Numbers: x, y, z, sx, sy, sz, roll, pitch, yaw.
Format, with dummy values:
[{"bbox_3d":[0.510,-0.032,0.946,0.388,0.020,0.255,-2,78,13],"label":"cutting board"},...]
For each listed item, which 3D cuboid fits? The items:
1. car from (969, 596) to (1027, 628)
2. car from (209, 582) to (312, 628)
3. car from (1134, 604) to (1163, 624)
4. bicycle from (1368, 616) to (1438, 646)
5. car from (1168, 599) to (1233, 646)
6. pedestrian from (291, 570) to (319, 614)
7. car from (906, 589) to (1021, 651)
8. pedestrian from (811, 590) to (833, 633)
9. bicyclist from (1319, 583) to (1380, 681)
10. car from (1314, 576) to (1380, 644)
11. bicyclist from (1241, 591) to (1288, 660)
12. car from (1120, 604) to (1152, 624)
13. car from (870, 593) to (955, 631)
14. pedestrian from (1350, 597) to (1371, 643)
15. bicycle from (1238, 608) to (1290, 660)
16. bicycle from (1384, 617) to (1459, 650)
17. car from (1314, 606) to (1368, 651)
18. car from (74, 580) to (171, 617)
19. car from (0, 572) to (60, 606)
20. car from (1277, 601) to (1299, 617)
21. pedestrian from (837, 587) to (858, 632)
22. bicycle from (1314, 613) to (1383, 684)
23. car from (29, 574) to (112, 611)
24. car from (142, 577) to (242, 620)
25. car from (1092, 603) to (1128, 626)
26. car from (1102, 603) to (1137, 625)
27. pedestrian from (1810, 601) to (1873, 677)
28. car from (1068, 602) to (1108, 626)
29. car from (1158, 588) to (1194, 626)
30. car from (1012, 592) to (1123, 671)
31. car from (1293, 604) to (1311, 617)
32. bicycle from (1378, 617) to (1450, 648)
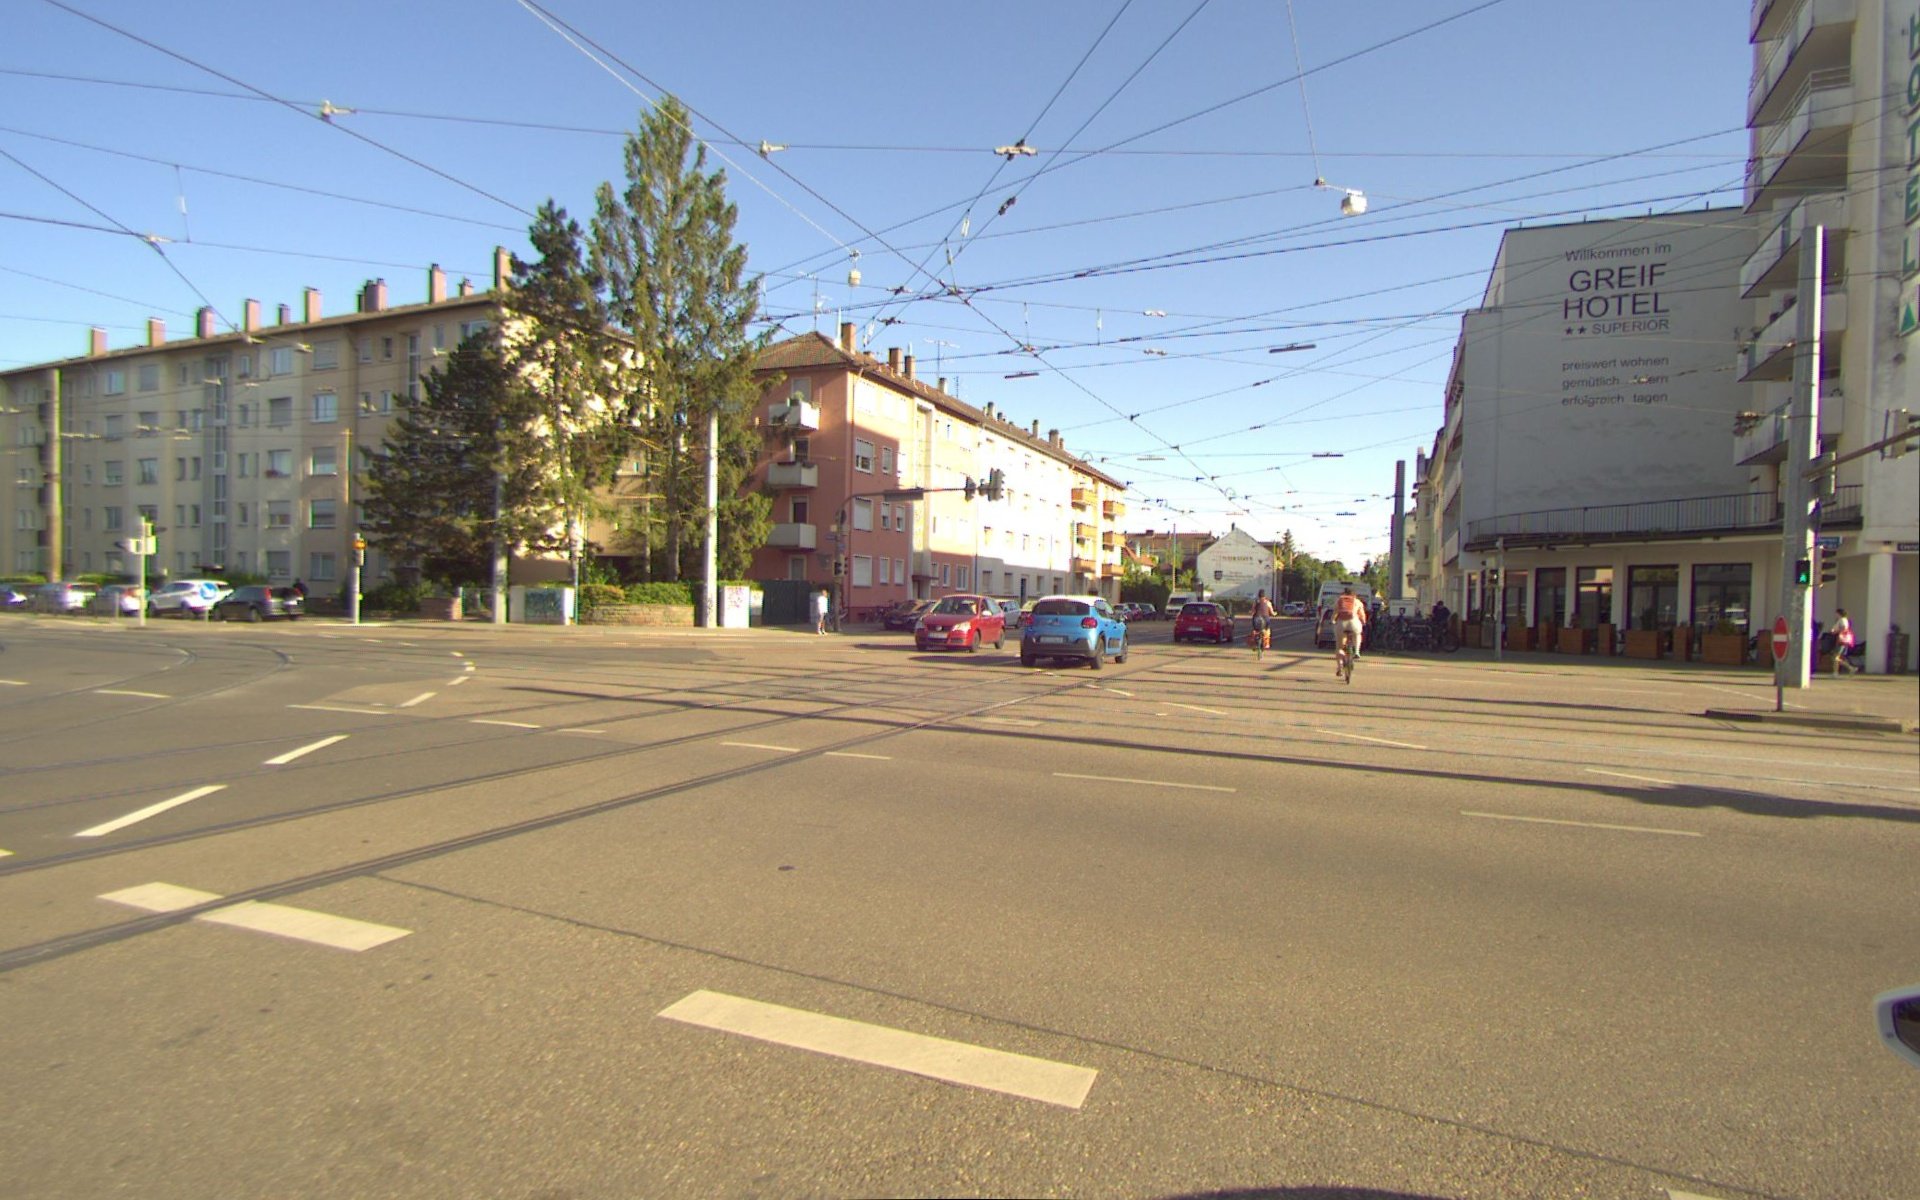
[{"bbox_3d":[2.141,0.666,55.126,1.714,1.546,4.228,4,1,23],"label":"car"},{"bbox_3d":[-29.356,0.196,42.141,3.998,1.650,1.869,4,1,28],"label":"car"},{"bbox_3d":[17.228,1.278,91.689,1.839,1.597,3.999,4,1,21],"label":"car"},{"bbox_3d":[15.659,1.101,35.578,2.215,1.015,0.856,0,0,22],"label":"bicycle"},{"bbox_3d":[9.013,0.780,37.384,1.756,1.542,3.761,4,2,22],"label":"car"},{"bbox_3d":[-29.260,-0.358,44.876,0.766,1.911,0.699,4,1,28],"label":"pedestrian"},{"bbox_3d":[0.176,0.519,26.831,1.750,1.506,3.827,1,0,22],"label":"car"},{"bbox_3d":[-5.238,0.452,38.212,0.508,1.589,0.573,4,1,24],"label":"pedestrian"},{"bbox_3d":[7.222,0.583,18.613,0.799,1.714,0.933,4,1,31],"label":"bicyclist"},{"bbox_3d":[15.680,0.399,40.695,2.228,2.515,5.007,3,0,22],"label":"car"},{"bbox_3d":[7.954,0.654,26.192,0.926,1.695,1.078,4,1,25],"label":"bicyclist"},{"bbox_3d":[15.051,1.207,85.825,1.839,1.597,3.999,4,1,21],"label":"car"},{"bbox_3d":[-2.091,0.569,45.621,2.119,1.450,4.440,4,-1,22],"label":"car"},{"bbox_3d":[15.081,0.762,37.827,0.603,1.676,0.671,4,1,22],"label":"pedestrian"},{"bbox_3d":[7.915,0.867,26.112,0.926,1.240,2.093,4,1,25],"label":"bicycle"},{"bbox_3d":[15.158,1.088,33.071,2.215,1.015,0.856,0,0,22],"label":"bicycle"},{"bbox_3d":[13.714,0.988,36.208,1.630,1.450,3.888,4,1,20],"label":"car"},{"bbox_3d":[-38.972,-0.070,46.729,3.956,1.497,1.833,4,1,23],"label":"car"},{"bbox_3d":[-47.734,-0.571,51.094,3.577,1.546,1.559,4,1,25],"label":"car"},{"bbox_3d":[44.152,1.271,135.183,2.183,1.957,4.947,4,1,23],"label":"car"},{"bbox_3d":[-4.539,0.364,40.466,0.770,1.744,0.703,3,1,-7],"label":"pedestrian"},{"bbox_3d":[7.249,0.876,18.691,0.799,1.197,2.060,4,1,31],"label":"bicycle"},{"bbox_3d":[-43.651,-0.362,49.291,3.717,1.578,1.660,4,1,25],"label":"car"},{"bbox_3d":[-34.036,-0.063,44.514,3.956,1.619,1.772,4,1,23],"label":"car"},{"bbox_3d":[11.508,1.084,76.956,1.839,1.597,3.999,4,1,21],"label":"car"},{"bbox_3d":[12.891,1.124,81.052,1.839,1.597,3.999,4,1,21],"label":"car"},{"bbox_3d":[21.640,0.943,24.675,0.892,1.769,0.737,4,1,23],"label":"pedestrian"},{"bbox_3d":[9.277,0.993,72.430,1.839,1.597,3.999,4,1,21],"label":"car"},{"bbox_3d":[19.455,0.661,90.273,2.379,3.184,3.486,4,1,24],"label":"car"},{"bbox_3d":[2.407,0.626,21.695,1.707,1.472,3.664,3,0,16],"label":"car"},{"bbox_3d":[51.498,1.627,151.225,2.041,1.786,5.034,4,1,23],"label":"car"},{"bbox_3d":[15.519,1.086,34.422,2.215,1.015,0.856,0,0,22],"label":"bicycle"}]
